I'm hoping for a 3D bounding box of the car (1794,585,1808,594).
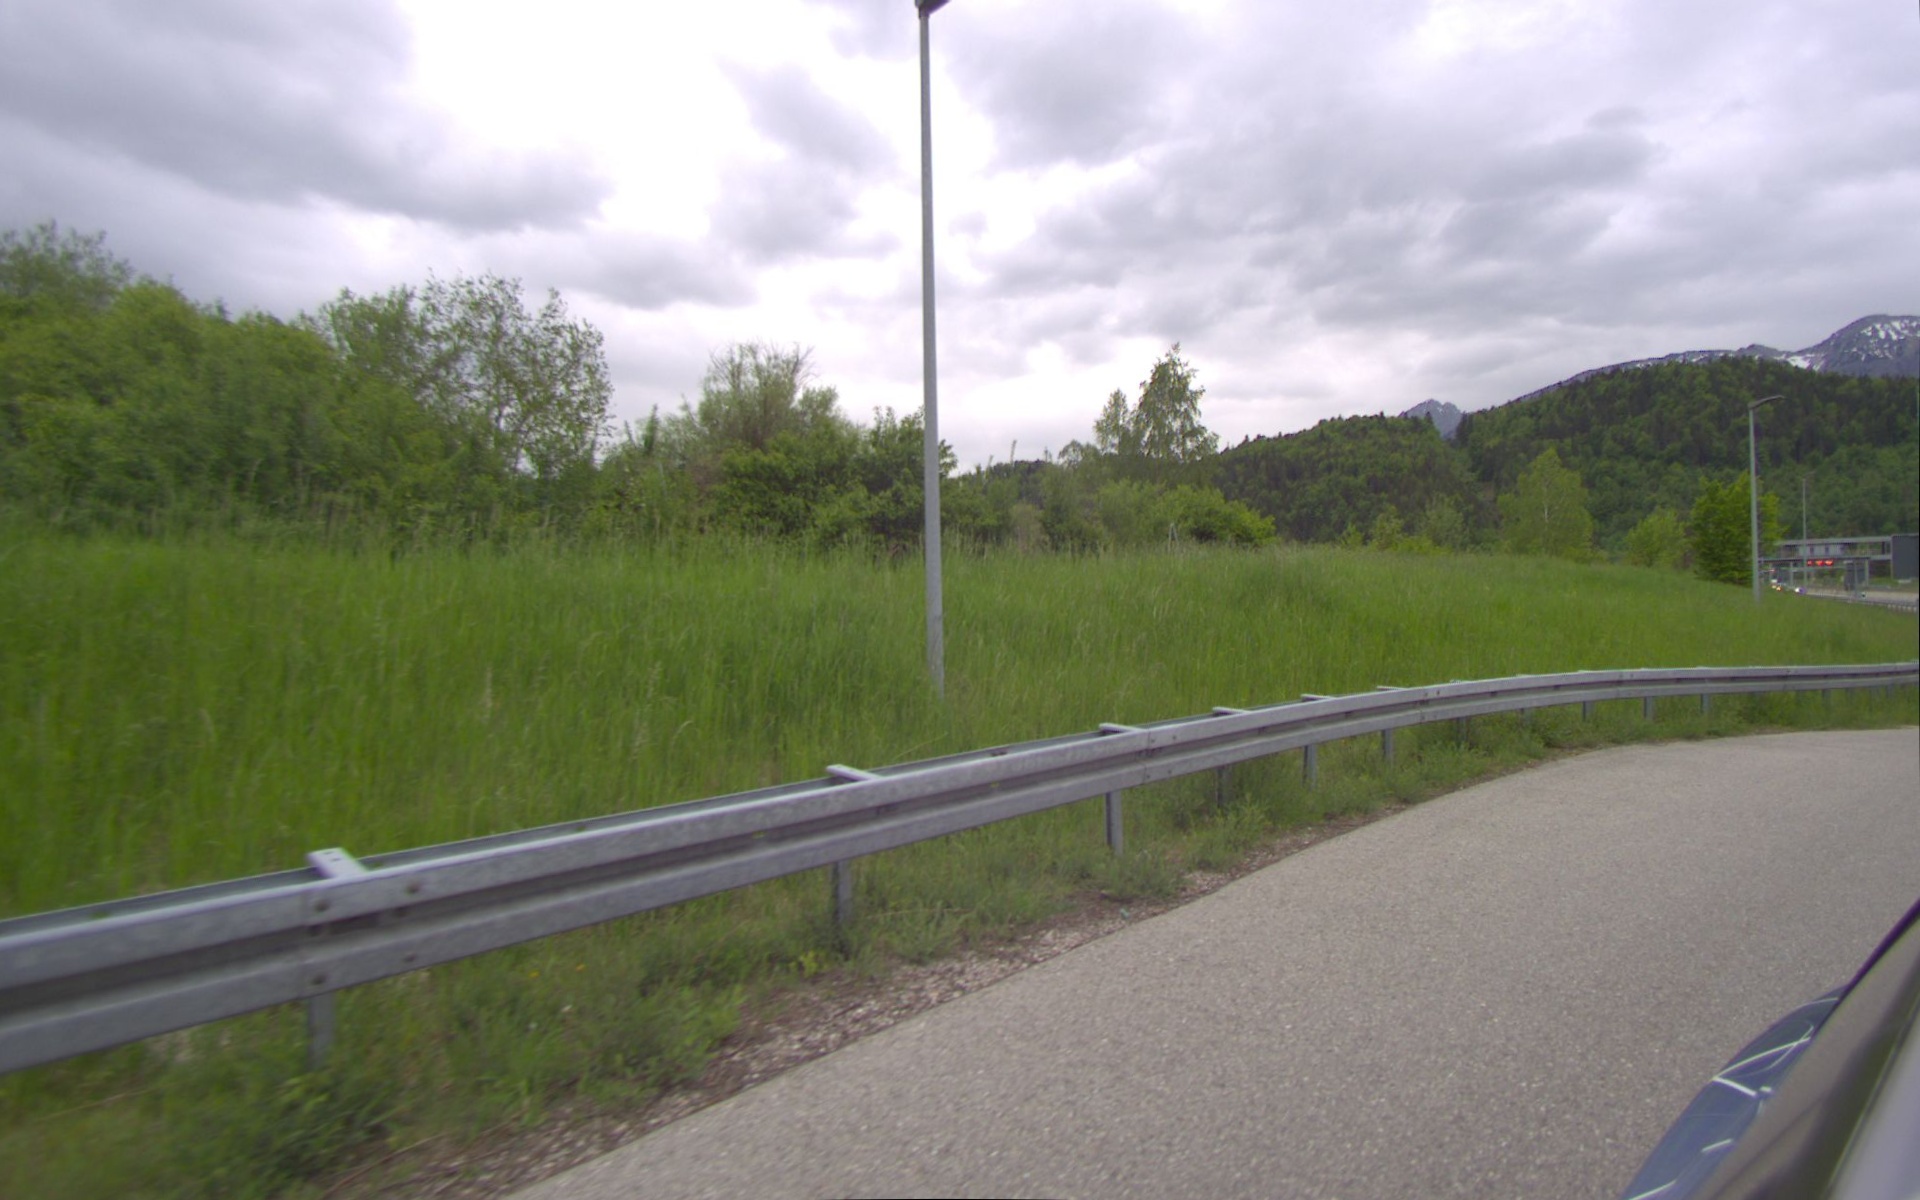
[{"bbox_3d":[158.778,-1.928,191.054,1.728,1.677,3.947,1,1,37],"label":"car"}]
